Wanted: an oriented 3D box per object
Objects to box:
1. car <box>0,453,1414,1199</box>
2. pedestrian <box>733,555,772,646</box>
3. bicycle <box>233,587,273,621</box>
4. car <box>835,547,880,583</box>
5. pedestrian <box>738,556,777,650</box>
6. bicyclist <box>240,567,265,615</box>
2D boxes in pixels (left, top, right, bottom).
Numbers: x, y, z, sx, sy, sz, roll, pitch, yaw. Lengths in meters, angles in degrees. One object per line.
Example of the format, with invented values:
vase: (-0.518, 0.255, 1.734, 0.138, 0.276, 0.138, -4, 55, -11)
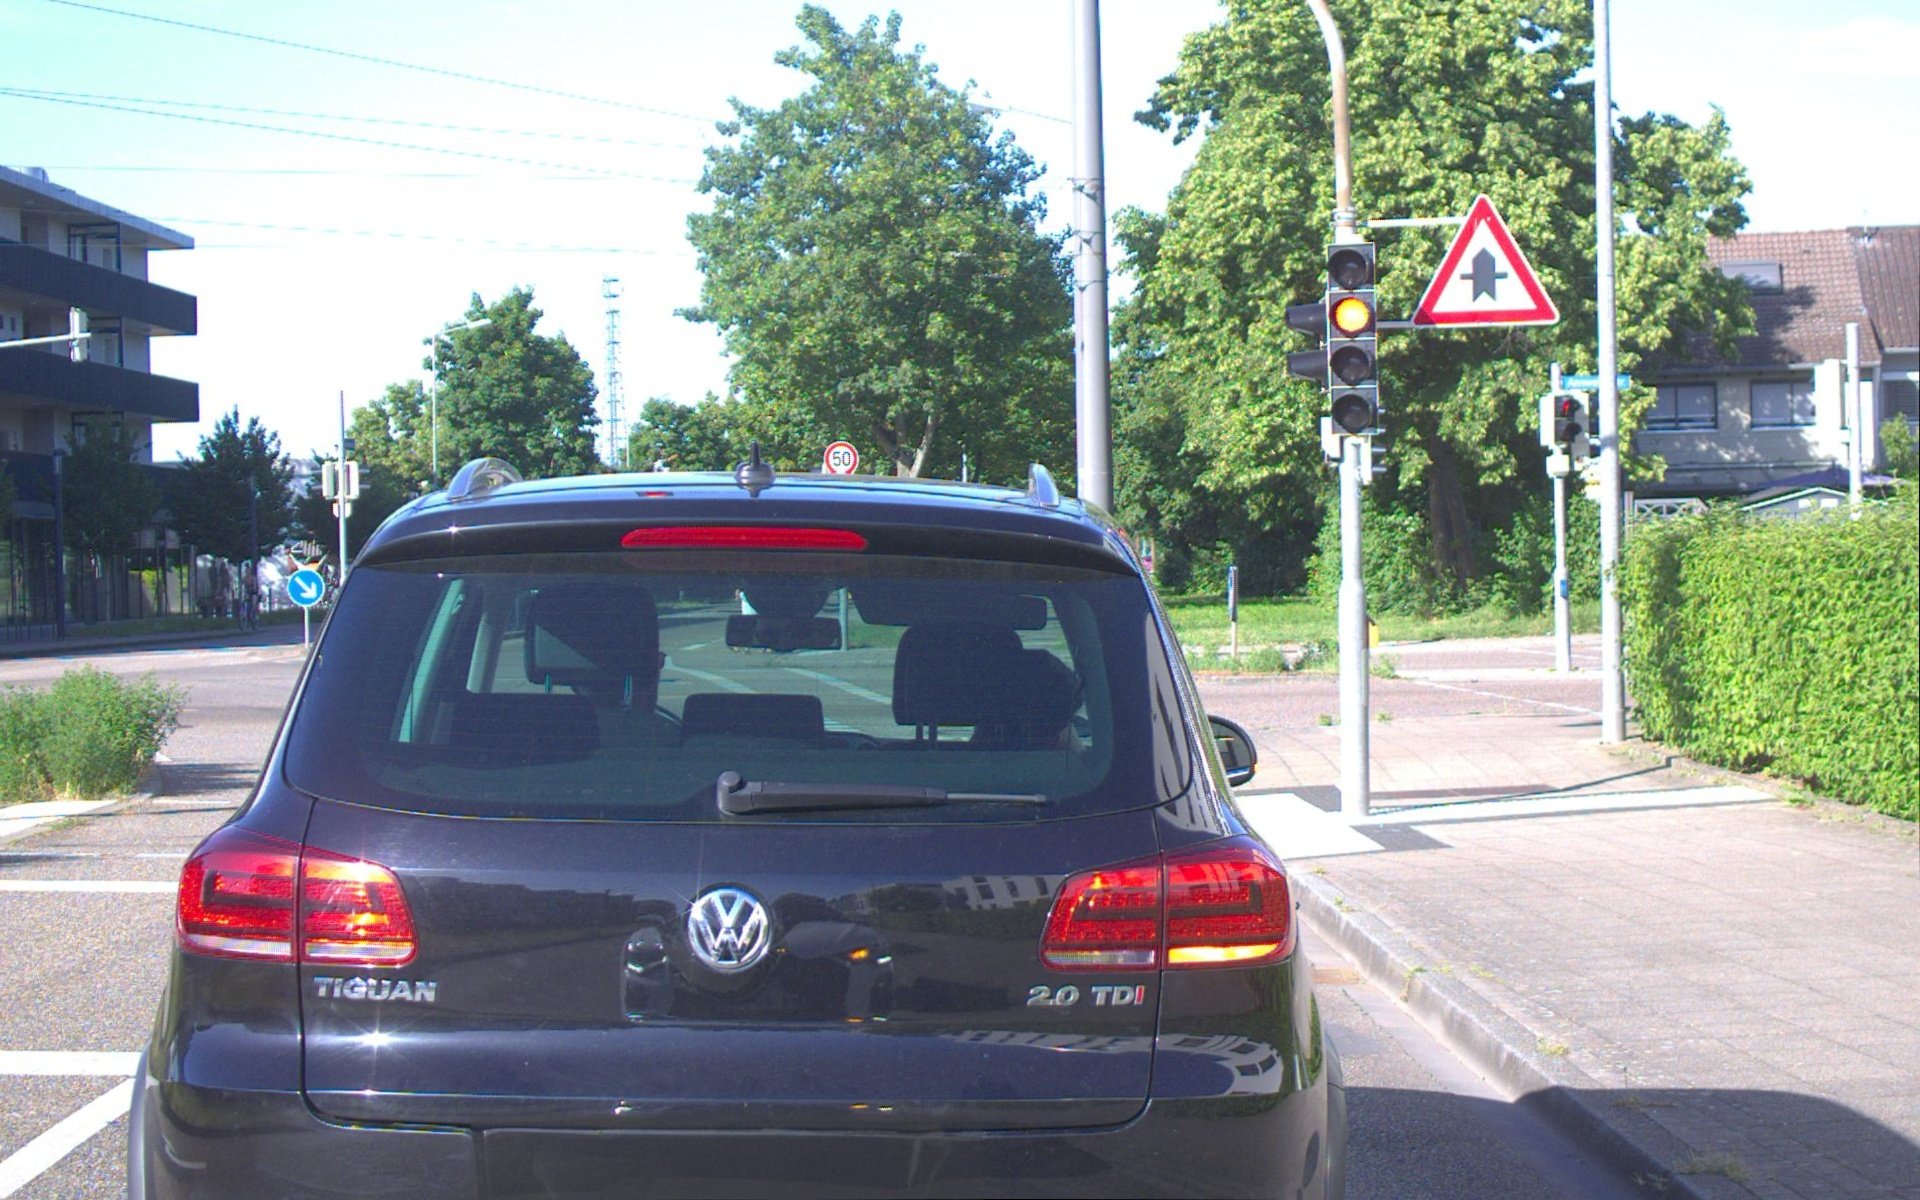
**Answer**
car: (-0.425, 0.596, 6.509, 1.905, 1.637, 4.000, 0, 1, -2)
pedestrian: (-3.574, 0.006, 59.196, 0.603, 1.559, 0.529, 0, 1, 4)
bicycle: (-18.421, 0.104, 89.640, 0.496, 0.845, 2.078, 0, 1, 3)
car: (-4.030, -1.393, 134.817, 1.751, 1.382, 4.000, 0, 1, -2)
pedestrian: (-3.517, 0.047, 59.804, 0.603, 1.634, 0.529, 0, 1, 4)
bicyclist: (-18.429, -0.239, 89.586, 0.474, 1.219, 0.712, 0, 1, 3)
